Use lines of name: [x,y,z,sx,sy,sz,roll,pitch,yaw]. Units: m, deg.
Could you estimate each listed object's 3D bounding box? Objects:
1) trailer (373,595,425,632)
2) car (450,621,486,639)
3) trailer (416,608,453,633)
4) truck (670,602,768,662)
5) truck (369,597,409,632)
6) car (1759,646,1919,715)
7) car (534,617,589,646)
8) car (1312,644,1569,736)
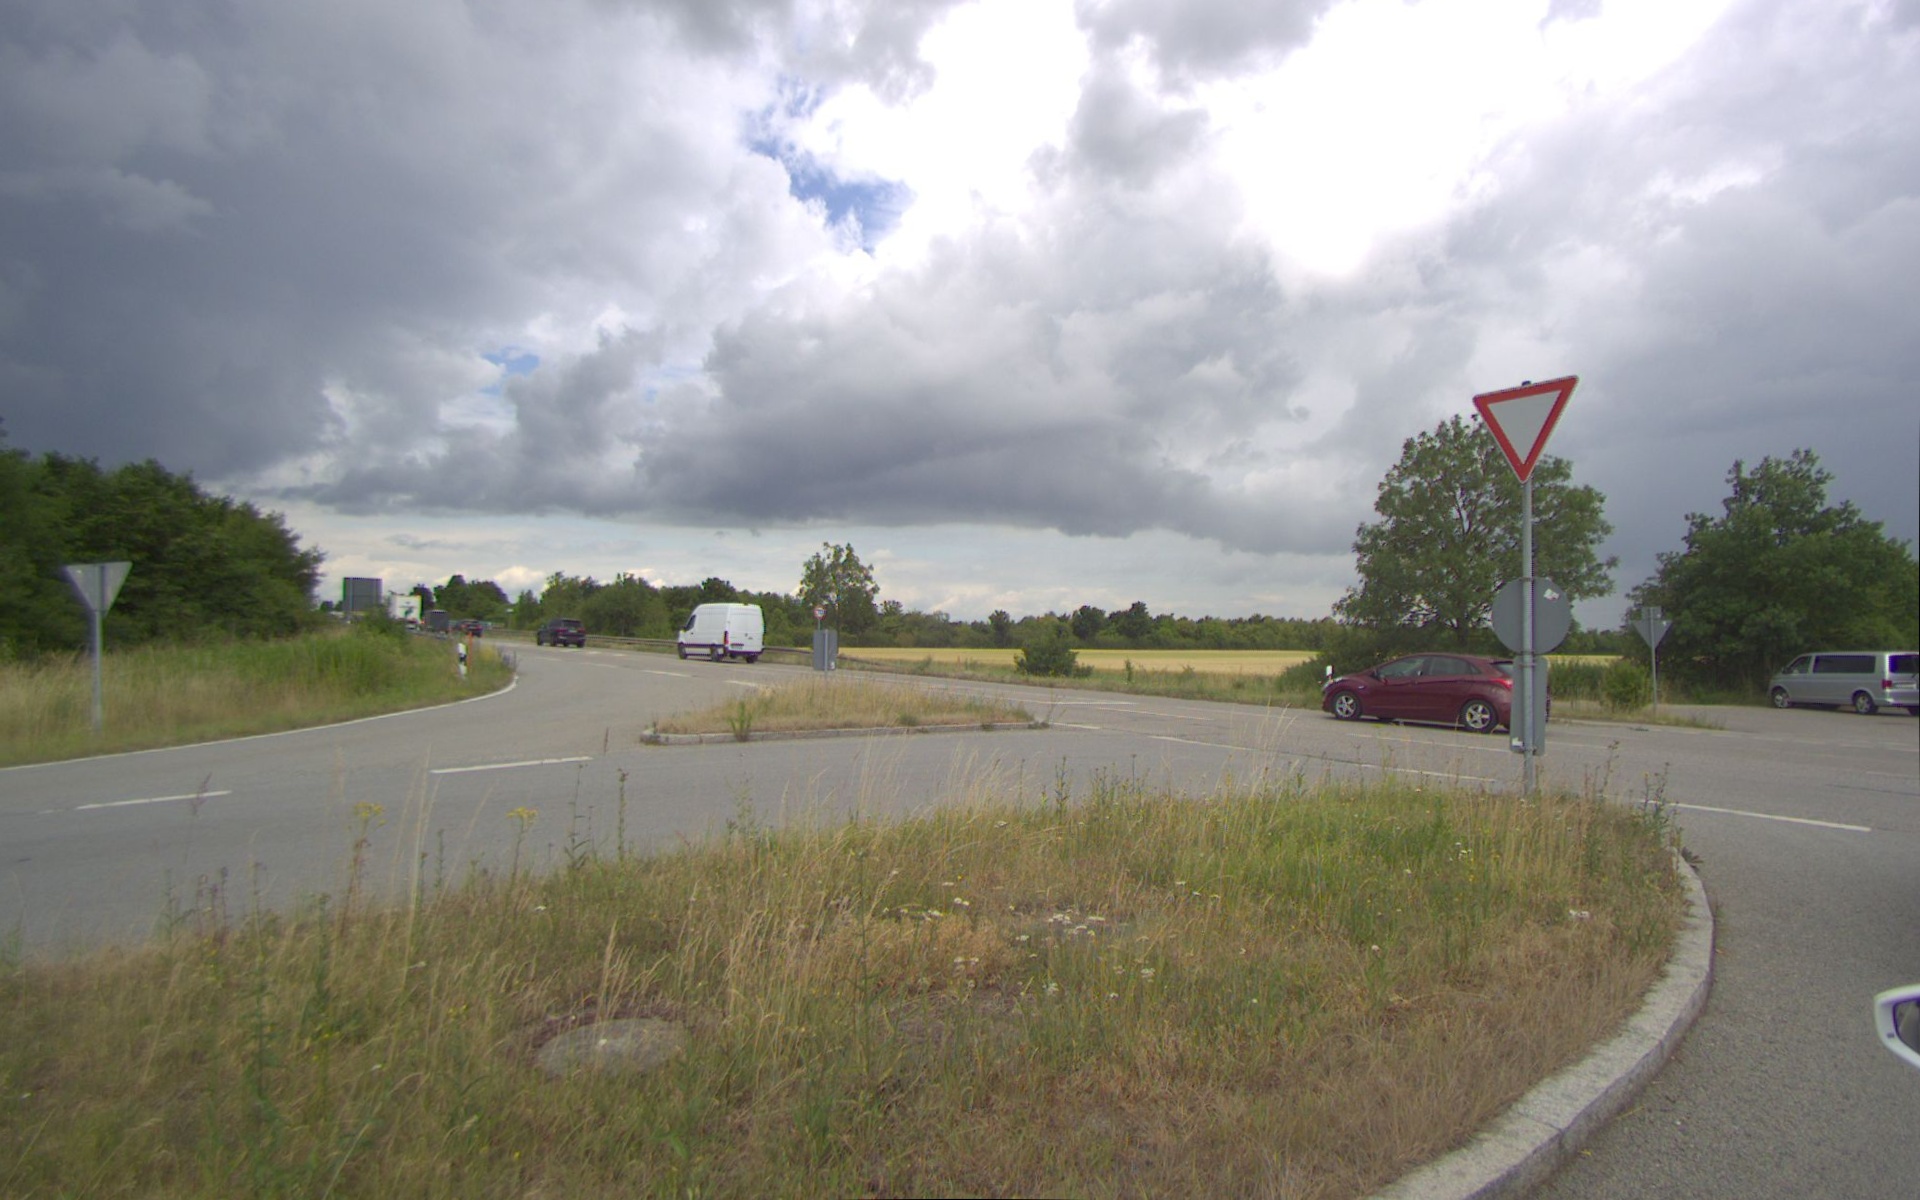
trailer: [-66.074,1.631,118.089,3.102,4.066,13.736,4,-3,-38]
car: [-43.812,2.670,89.463,1.983,1.506,4.254,3,-3,-38]
trailer: [-52.837,2.073,101.032,2.398,2.322,4.346,4,-4,-39]
truck: [-11.263,1.467,46.656,1.983,2.609,5.949,4,-3,-39]
truck: [-70.154,1.762,123.366,3.102,4.066,7.228,4,-3,-38]
car: [29.315,2.560,32.989,2.295,2.040,4.916,0,-2,1]
car: [-25.802,2.027,64.984,1.983,1.798,4.591,3,-2,-39]
car: [9.289,1.678,19.691,1.982,1.483,4.117,3,-2,-37]
